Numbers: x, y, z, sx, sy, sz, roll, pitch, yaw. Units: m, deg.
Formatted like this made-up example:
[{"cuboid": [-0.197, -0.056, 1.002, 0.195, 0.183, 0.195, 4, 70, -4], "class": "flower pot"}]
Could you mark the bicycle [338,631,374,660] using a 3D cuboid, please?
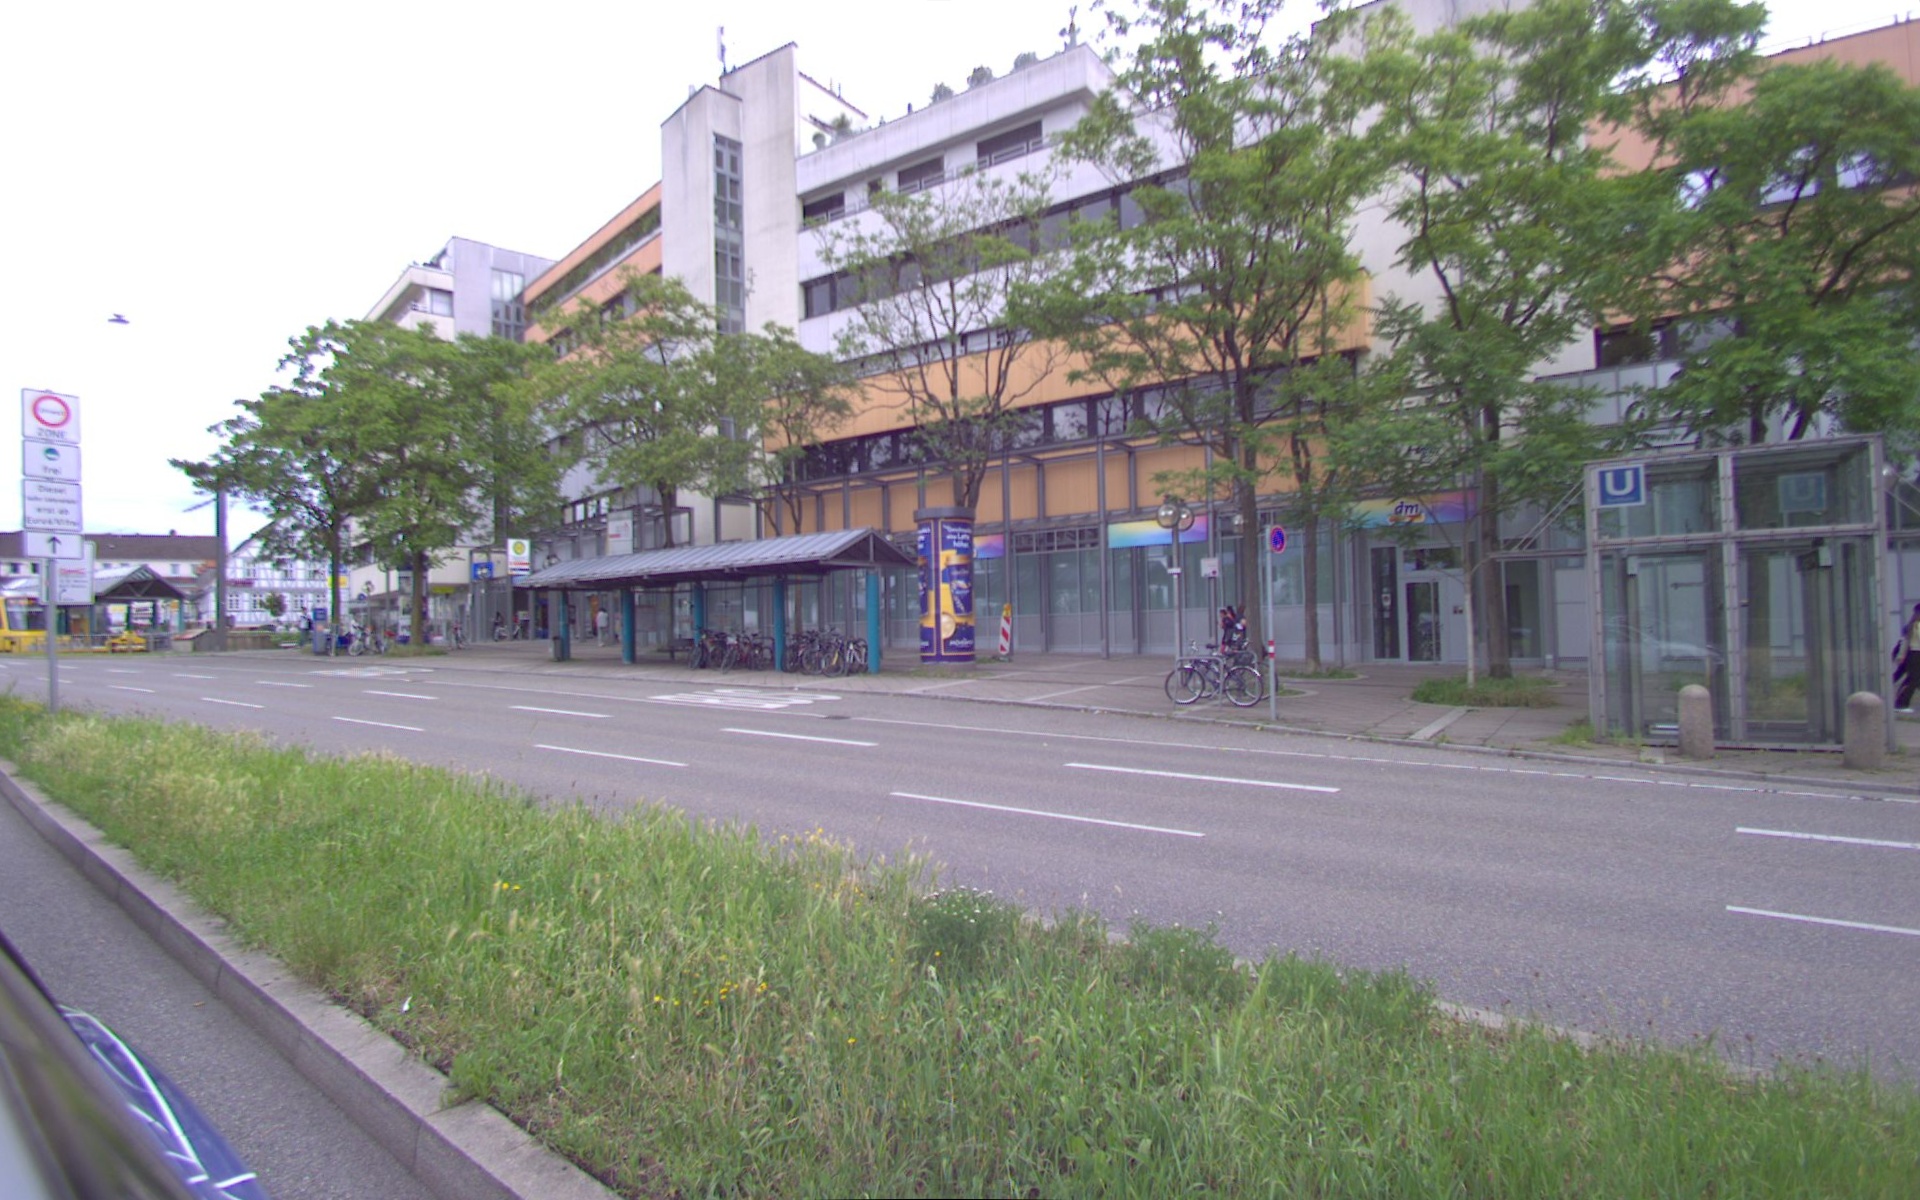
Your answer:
[{"cuboid": [-23.626, 1.763, 39.645, 0.585, 1.085, 2.042, 0, -1, -12], "class": "bicycle"}]

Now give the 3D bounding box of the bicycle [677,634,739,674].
[{"cuboid": [-7.244, 1.534, 29.144, 0.549, 1.048, 1.714, -2, 0, 38], "class": "bicycle"}]

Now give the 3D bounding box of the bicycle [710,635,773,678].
[{"cuboid": [-5.971, 1.529, 27.717, 0.549, 1.048, 1.714, -2, 1, 38], "class": "bicycle"}]

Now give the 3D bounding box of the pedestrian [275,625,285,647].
[{"cuboid": [-46.942, 2.502, 69.853, 0.548, 1.506, 0.454, 1, -2, -41], "class": "pedestrian"}]

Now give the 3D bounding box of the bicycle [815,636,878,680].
[{"cuboid": [-2.915, 1.473, 26.056, 0.549, 1.048, 1.714, -2, 0, 38], "class": "bicycle"}]

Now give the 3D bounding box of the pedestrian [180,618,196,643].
[{"cuboid": [-62.478, 2.463, 81.885, 0.867, 2.029, 1.010, 1, -2, -44], "class": "pedestrian"}]

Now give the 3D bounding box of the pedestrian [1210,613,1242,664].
[{"cuboid": [7.446, 1.068, 28.316, 0.694, 1.385, 0.578, -1, -2, 34], "class": "pedestrian"}]

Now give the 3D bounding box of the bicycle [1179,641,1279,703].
[{"cuboid": [4.974, 1.313, 18.786, 1.737, 1.074, 0.542, -2, -1, 45], "class": "bicycle"}]

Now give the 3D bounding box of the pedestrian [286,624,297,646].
[{"cuboid": [-46.395, 2.453, 70.260, 0.548, 1.506, 0.454, 1, -2, -41], "class": "pedestrian"}]

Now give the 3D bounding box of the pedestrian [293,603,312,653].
[{"cuboid": [-31.061, 1.306, 47.805, 0.608, 2.325, 0.583, -1, -2, 39], "class": "pedestrian"}]

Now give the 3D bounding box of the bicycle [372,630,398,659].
[{"cuboid": [-22.759, 1.750, 40.103, 0.584, 1.085, 2.044, 0, -1, -21], "class": "bicycle"}]

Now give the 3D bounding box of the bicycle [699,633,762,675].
[{"cuboid": [-6.466, 1.511, 28.579, 0.549, 1.048, 1.714, -2, 1, 38], "class": "bicycle"}]

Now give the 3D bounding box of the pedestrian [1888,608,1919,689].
[{"cuboid": [18.112, 0.910, 19.201, 0.620, 1.515, 0.563, -1, -2, 31], "class": "pedestrian"}]

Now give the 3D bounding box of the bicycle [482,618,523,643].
[{"cuboid": [-26.111, 1.731, 57.759, 2.106, 1.377, 0.621, -1, 0, -24], "class": "bicycle"}]

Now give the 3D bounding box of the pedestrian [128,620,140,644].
[{"cuboid": [-70.656, 2.710, 86.548, 0.731, 2.029, 0.940, 1, -2, -39], "class": "pedestrian"}]

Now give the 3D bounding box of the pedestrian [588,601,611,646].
[{"cuboid": [-16.505, 1.055, 46.313, 0.794, 2.029, 0.701, -1, 0, 40], "class": "pedestrian"}]

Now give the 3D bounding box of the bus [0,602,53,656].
[{"cuboid": [-55.996, 1.677, 58.605, 8.470, 3.006, 2.530, -1, -2, 29], "class": "bus"}]

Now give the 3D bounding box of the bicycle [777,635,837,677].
[{"cuboid": [-4.149, 1.514, 27.556, 0.549, 1.048, 1.714, -2, -1, 38], "class": "bicycle"}]

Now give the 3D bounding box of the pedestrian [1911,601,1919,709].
[{"cuboid": [15.178, 0.837, 15.554, 0.721, 1.662, 0.669, -1, -1, 37], "class": "pedestrian"}]

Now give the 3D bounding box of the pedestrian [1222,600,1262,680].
[{"cuboid": [6.517, 0.919, 23.398, 0.769, 1.800, 0.525, -1, -2, 33], "class": "pedestrian"}]

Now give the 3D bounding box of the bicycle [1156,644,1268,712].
[{"cuboid": [4.358, 1.325, 17.594, 0.802, 1.068, 1.739, 0, -1, -40], "class": "bicycle"}]

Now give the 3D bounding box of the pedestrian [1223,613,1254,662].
[{"cuboid": [7.938, 1.061, 28.878, 0.694, 1.385, 0.578, -1, -2, 34], "class": "pedestrian"}]

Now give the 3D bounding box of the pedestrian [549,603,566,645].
[{"cuboid": [-19.555, 1.150, 49.200, 0.558, 2.029, 0.611, 1, -2, -44], "class": "pedestrian"}]

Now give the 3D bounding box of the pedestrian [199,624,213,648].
[{"cuboid": [-50.144, 2.387, 67.321, 0.581, 1.554, 0.570, -1, -2, 32], "class": "pedestrian"}]

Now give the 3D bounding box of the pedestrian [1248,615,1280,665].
[{"cuboid": [8.510, 1.108, 28.320, 0.694, 1.385, 0.578, -1, -2, 34], "class": "pedestrian"}]

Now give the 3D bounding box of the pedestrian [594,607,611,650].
[{"cuboid": [-15.486, 1.240, 43.901, 0.639, 1.823, 0.761, 0, -2, -16], "class": "pedestrian"}]

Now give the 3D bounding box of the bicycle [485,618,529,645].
[{"cuboid": [-24.962, 1.721, 55.781, 2.107, 1.385, 0.621, -1, 0, -31], "class": "bicycle"}]

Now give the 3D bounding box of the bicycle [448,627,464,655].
[{"cuboid": [-21.364, 1.704, 42.923, 0.584, 1.134, 2.044, 1, -1, -26], "class": "bicycle"}]

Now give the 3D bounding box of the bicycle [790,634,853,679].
[{"cuboid": [-3.625, 1.458, 26.588, 0.549, 1.048, 1.714, -2, 0, 38], "class": "bicycle"}]
